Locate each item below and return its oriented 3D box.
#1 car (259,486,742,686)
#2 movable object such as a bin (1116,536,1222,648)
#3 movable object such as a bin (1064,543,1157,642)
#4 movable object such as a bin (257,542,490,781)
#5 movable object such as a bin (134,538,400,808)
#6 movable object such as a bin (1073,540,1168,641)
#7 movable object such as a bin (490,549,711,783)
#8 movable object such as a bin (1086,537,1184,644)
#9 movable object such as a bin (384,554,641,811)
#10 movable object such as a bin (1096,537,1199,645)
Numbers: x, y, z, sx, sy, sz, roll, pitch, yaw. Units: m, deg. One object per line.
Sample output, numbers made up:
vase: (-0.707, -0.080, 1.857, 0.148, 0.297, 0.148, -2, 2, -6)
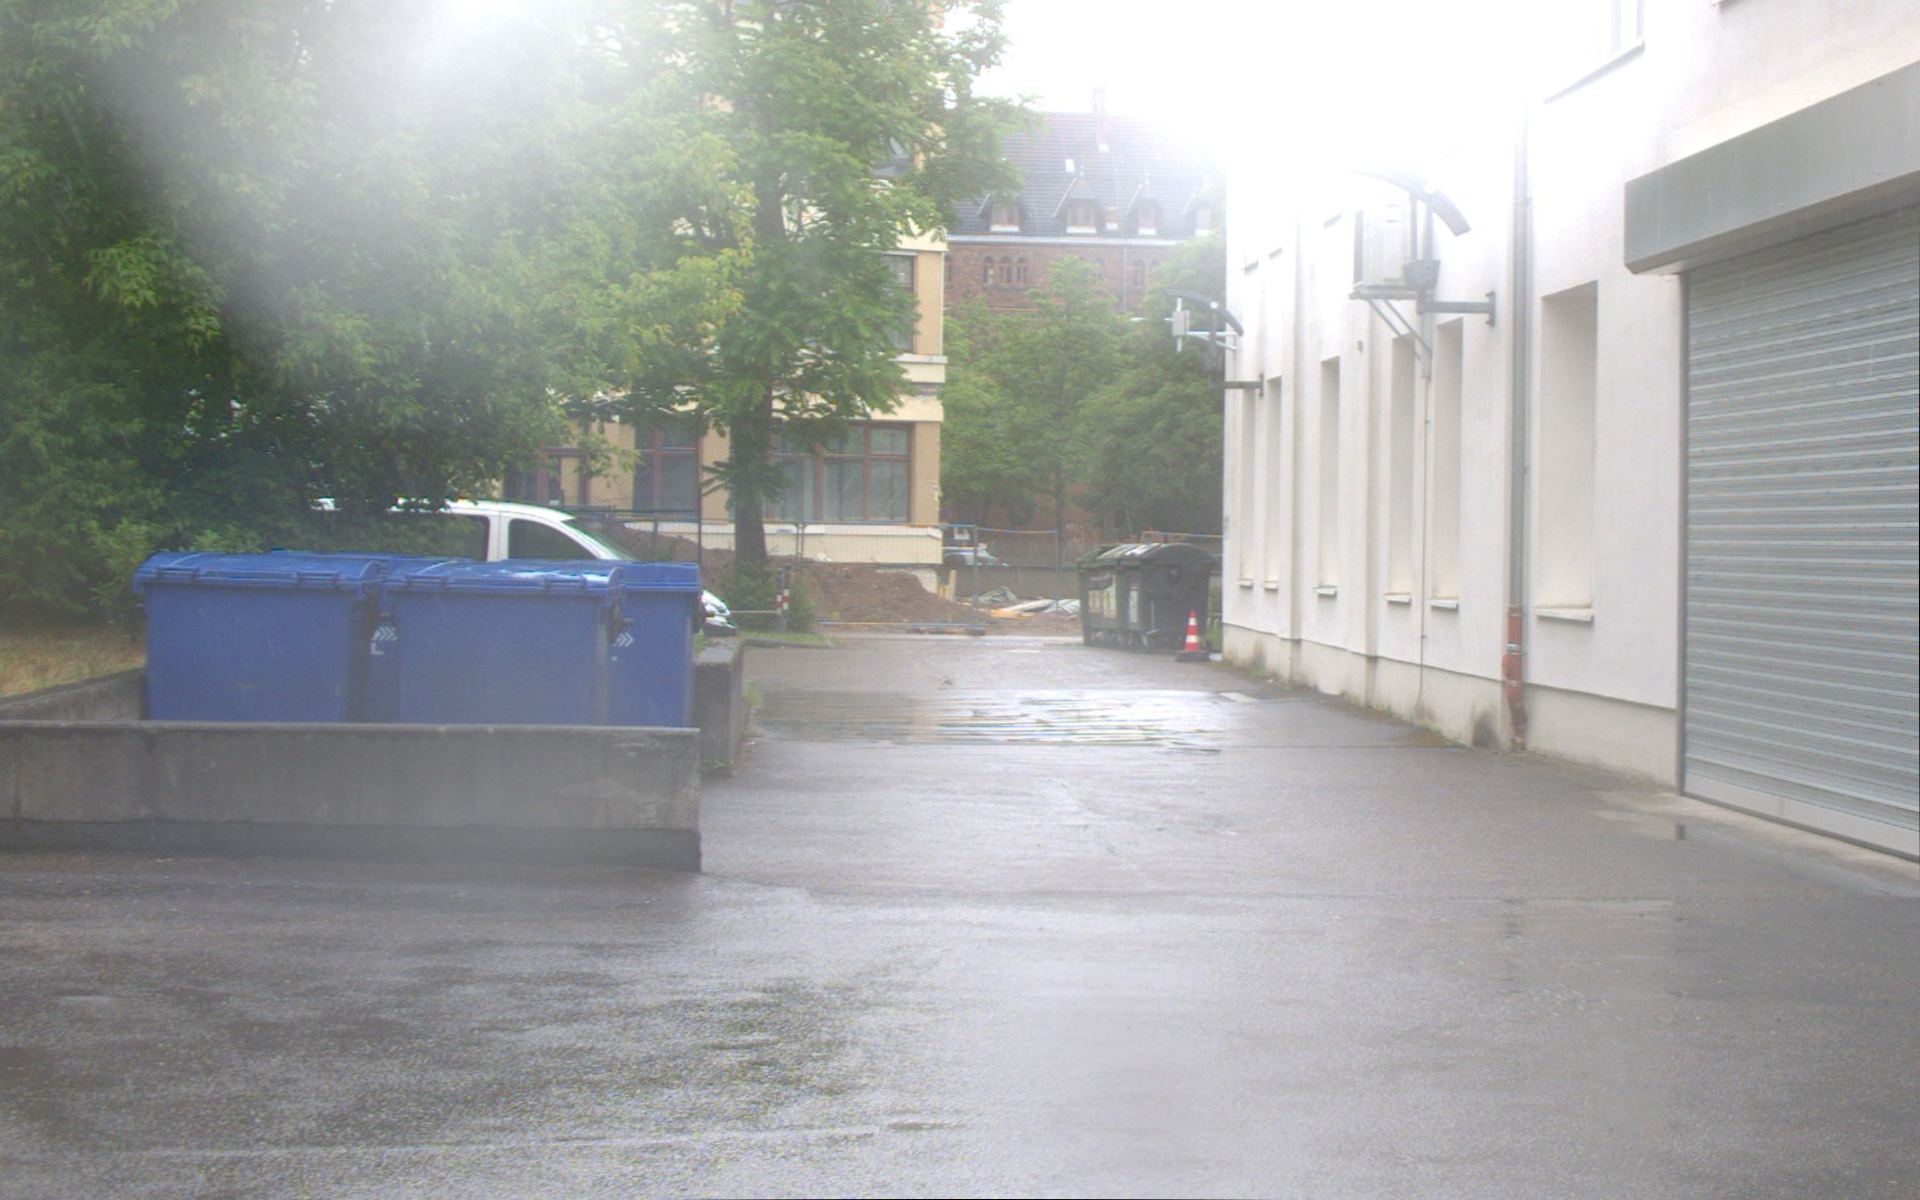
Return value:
car: (-4.682, -0.164, 35.596, 4.780, 2.007, 2.000, 0, 1, -1)
movable object such as a bin: (2.753, -0.092, 45.386, 1.214, 1.432, 1.236, 1, -1, -4)
movable object such as a bin: (2.243, -0.104, 51.450, 1.214, 1.432, 1.259, 1, -1, -4)
movable object such as a bin: (-3.443, 0.348, 20.277, 1.221, 1.332, 1.007, 1, 2, -2)
movable object such as a bin: (-3.733, 0.376, 18.623, 1.202, 1.332, 1.117, 2, 3, -2)
movable object such as a bin: (2.336, -0.130, 50.074, 1.214, 1.432, 1.259, 1, -1, -4)
movable object such as a bin: (-2.124, 0.376, 20.450, 1.221, 1.332, 1.007, 1, 1, -2)
movable object such as a bin: (2.468, -0.121, 48.702, 1.214, 1.463, 1.236, 1, -1, -4)
movable object such as a bin: (-2.413, 0.429, 18.699, 1.203, 1.332, 1.117, 1, 1, 2)
movable object such as a bin: (2.550, -0.115, 46.936, 1.214, 1.432, 1.294, 1, -1, -4)
